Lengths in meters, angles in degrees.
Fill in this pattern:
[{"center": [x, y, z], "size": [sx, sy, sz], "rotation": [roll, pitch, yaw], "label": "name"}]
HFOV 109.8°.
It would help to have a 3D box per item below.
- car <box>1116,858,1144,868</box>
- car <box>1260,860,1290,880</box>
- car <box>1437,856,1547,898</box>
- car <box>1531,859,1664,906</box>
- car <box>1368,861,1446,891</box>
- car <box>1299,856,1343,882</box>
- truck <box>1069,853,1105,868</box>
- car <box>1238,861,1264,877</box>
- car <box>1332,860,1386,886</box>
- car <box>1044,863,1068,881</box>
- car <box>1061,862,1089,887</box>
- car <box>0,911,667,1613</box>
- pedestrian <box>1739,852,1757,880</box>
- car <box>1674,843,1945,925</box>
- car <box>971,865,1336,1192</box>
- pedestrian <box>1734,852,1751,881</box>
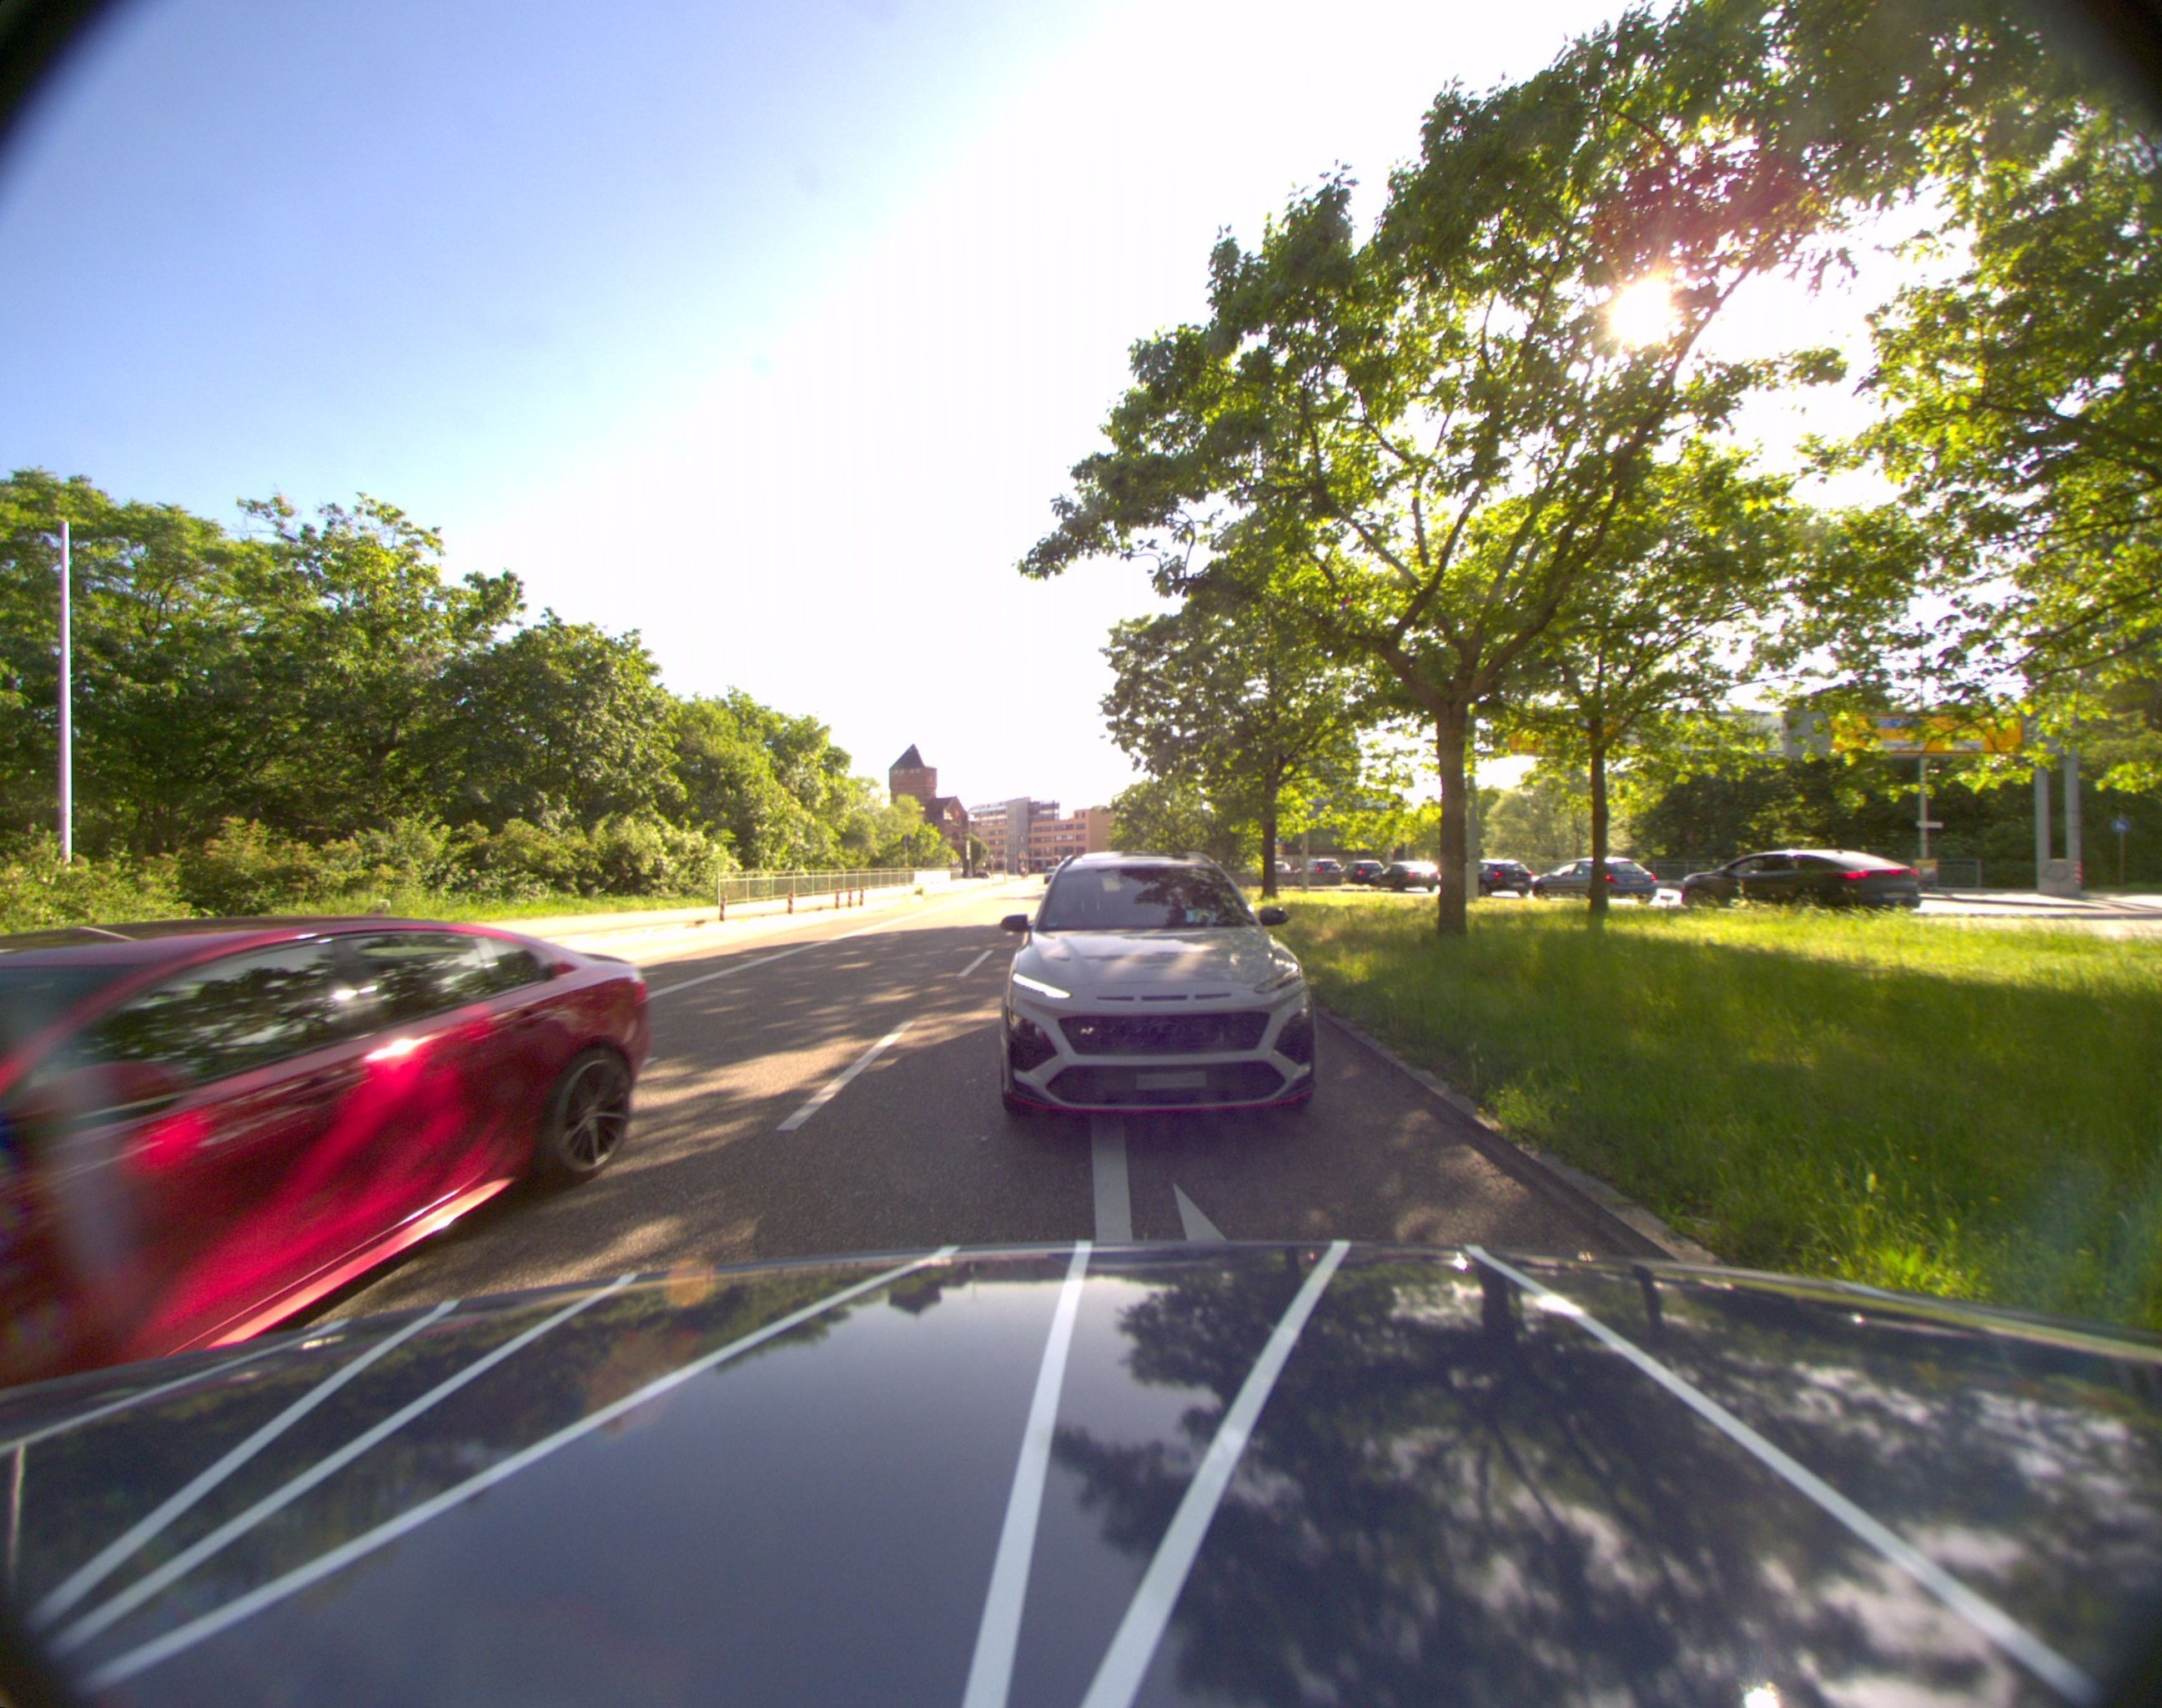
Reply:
[{"center": [10.161, 1.854, 157.158], "size": [5.400, 2.001, 2.177], "rotation": [-1, 0, 31], "label": "car"}, {"center": [14.308, 1.201, 56.132], "size": [1.228, 1.331, 2.882], "rotation": [-1, -3, -6], "label": "car"}, {"center": [16.176, 0.851, 30.151], "size": [1.875, 1.541, 4.221], "rotation": [-1, 0, -4], "label": "car"}, {"center": [16.373, 0.877, 24.301], "size": [1.561, 1.355, 3.608], "rotation": [-1, -1, -6], "label": "car"}, {"center": [15.463, 0.992, 36.224], "size": [1.623, 1.305, 4.066], "rotation": [-1, 0, -6], "label": "car"}, {"center": [14.960, 0.985, 47.525], "size": [1.450, 1.549, 3.202], "rotation": [-1, -2, -6], "label": "car"}, {"center": [1.245, 1.445, 169.536], "size": [3.534, 3.231, 9.142], "rotation": [-1, 0, -32], "label": "truck"}, {"center": [13.931, 1.270, 62.329], "size": [1.199, 1.252, 2.768], "rotation": [-1, -2, -6], "label": "car"}, {"center": [15.139, 1.027, 41.481], "size": [1.481, 1.331, 3.202], "rotation": [-1, -1, -6], "label": "car"}, {"center": [-2.038, 1.454, 63.472], "size": [1.776, 1.395, 4.318], "rotation": [-1, 0, 1], "label": "car"}, {"center": [-0.358, 1.271, 48.063], "size": [1.677, 1.463, 4.151], "rotation": [-1, 0, 1], "label": "car"}, {"center": [-3.421, 1.051, 2.263], "size": [1.892, 1.420, 4.387], "rotation": [-2, -1, 1], "label": "car"}, {"center": [34.901, 0.620, 39.744], "size": [0.421, 1.490, 0.545], "rotation": [-1, 0, -7], "label": "pedestrian"}, {"center": [16.773, 0.629, 17.882], "size": [1.832, 1.638, 4.458], "rotation": [-1, 0, -6], "label": "car"}, {"center": [0.378, 0.881, 5.689], "size": [1.752, 1.523, 3.988], "rotation": [-1, 0, 1], "label": "car"}, {"center": [34.458, 0.671, 39.587], "size": [0.421, 1.490, 0.545], "rotation": [-1, 0, -7], "label": "pedestrian"}]
